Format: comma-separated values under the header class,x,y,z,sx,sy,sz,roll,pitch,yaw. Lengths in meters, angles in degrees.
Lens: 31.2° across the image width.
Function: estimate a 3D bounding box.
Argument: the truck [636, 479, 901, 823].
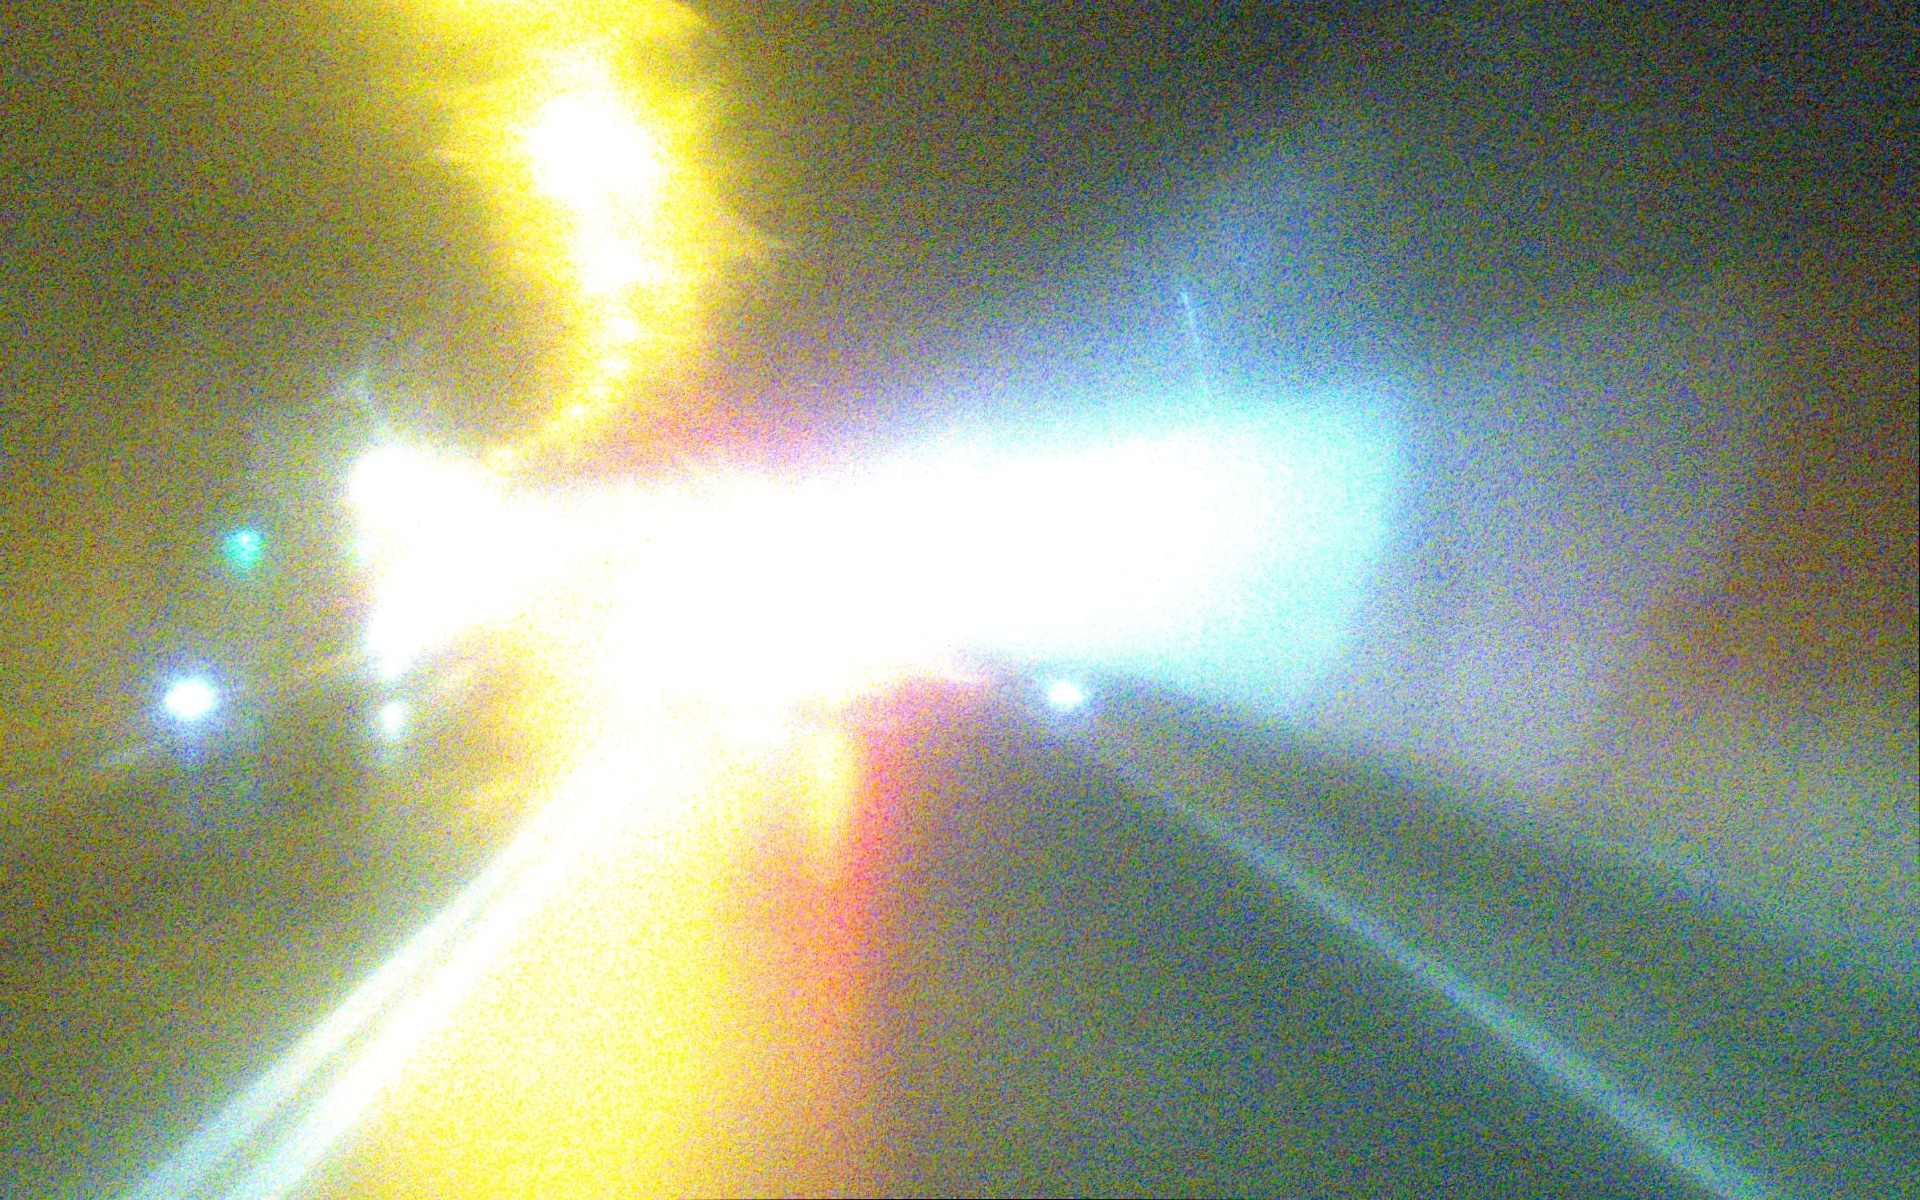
class,x,y,z,sx,sy,sz,roll,pitch,yaw
truck,-1.888,0.413,34.535,2.262,3.000,7.416,2,1,-3
